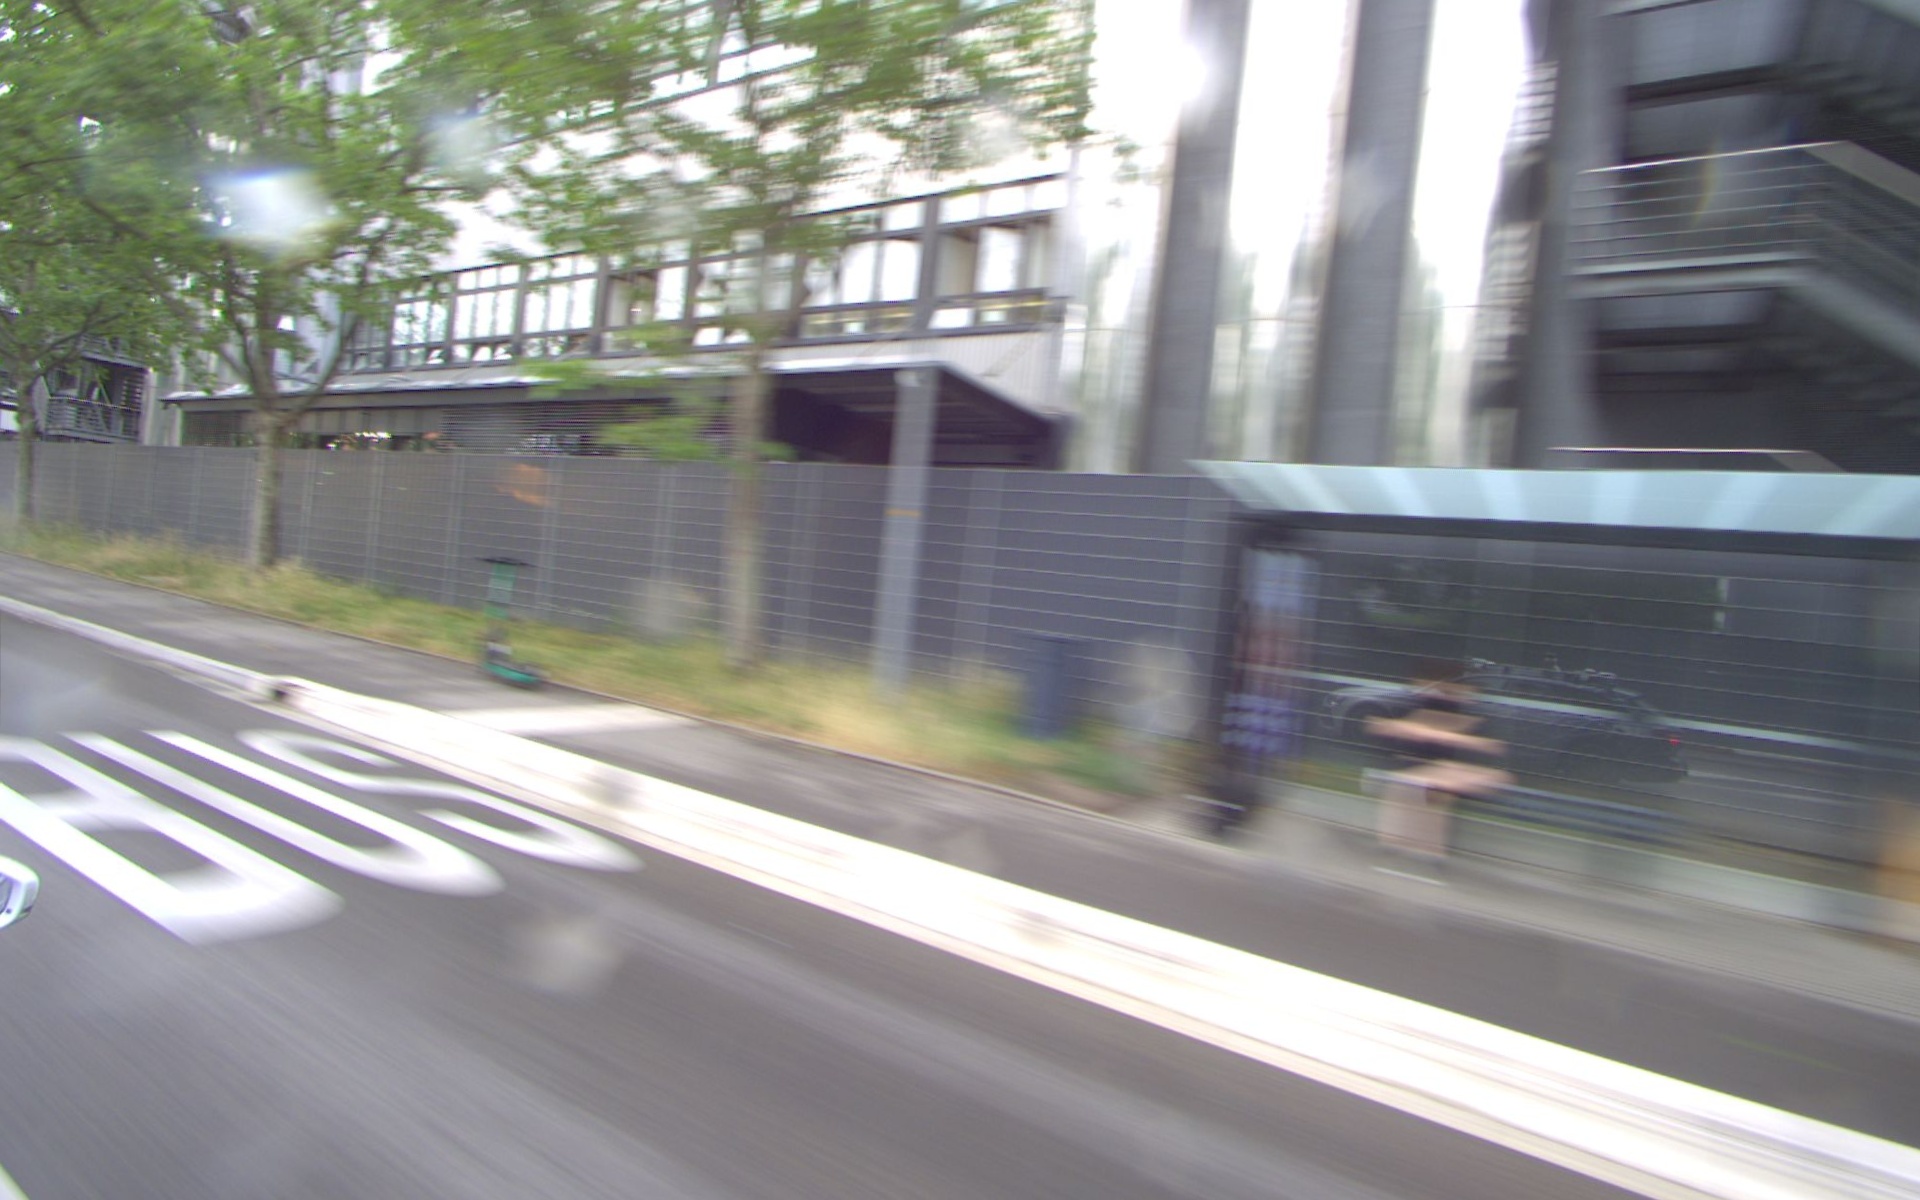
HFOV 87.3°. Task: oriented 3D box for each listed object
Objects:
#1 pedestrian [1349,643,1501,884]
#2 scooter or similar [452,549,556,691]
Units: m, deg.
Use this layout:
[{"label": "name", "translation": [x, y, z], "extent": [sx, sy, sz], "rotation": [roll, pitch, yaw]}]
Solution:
[{"label": "pedestrian", "translation": [3.177, 1.056, 6.841], "extent": [0.686, 1.434, 0.931], "rotation": [7, 1, 32]}, {"label": "scooter or similar", "translation": [-4.710, 0.192, 10.369], "extent": [1.227, 1.325, 0.328], "rotation": [7, 2, 37]}]
